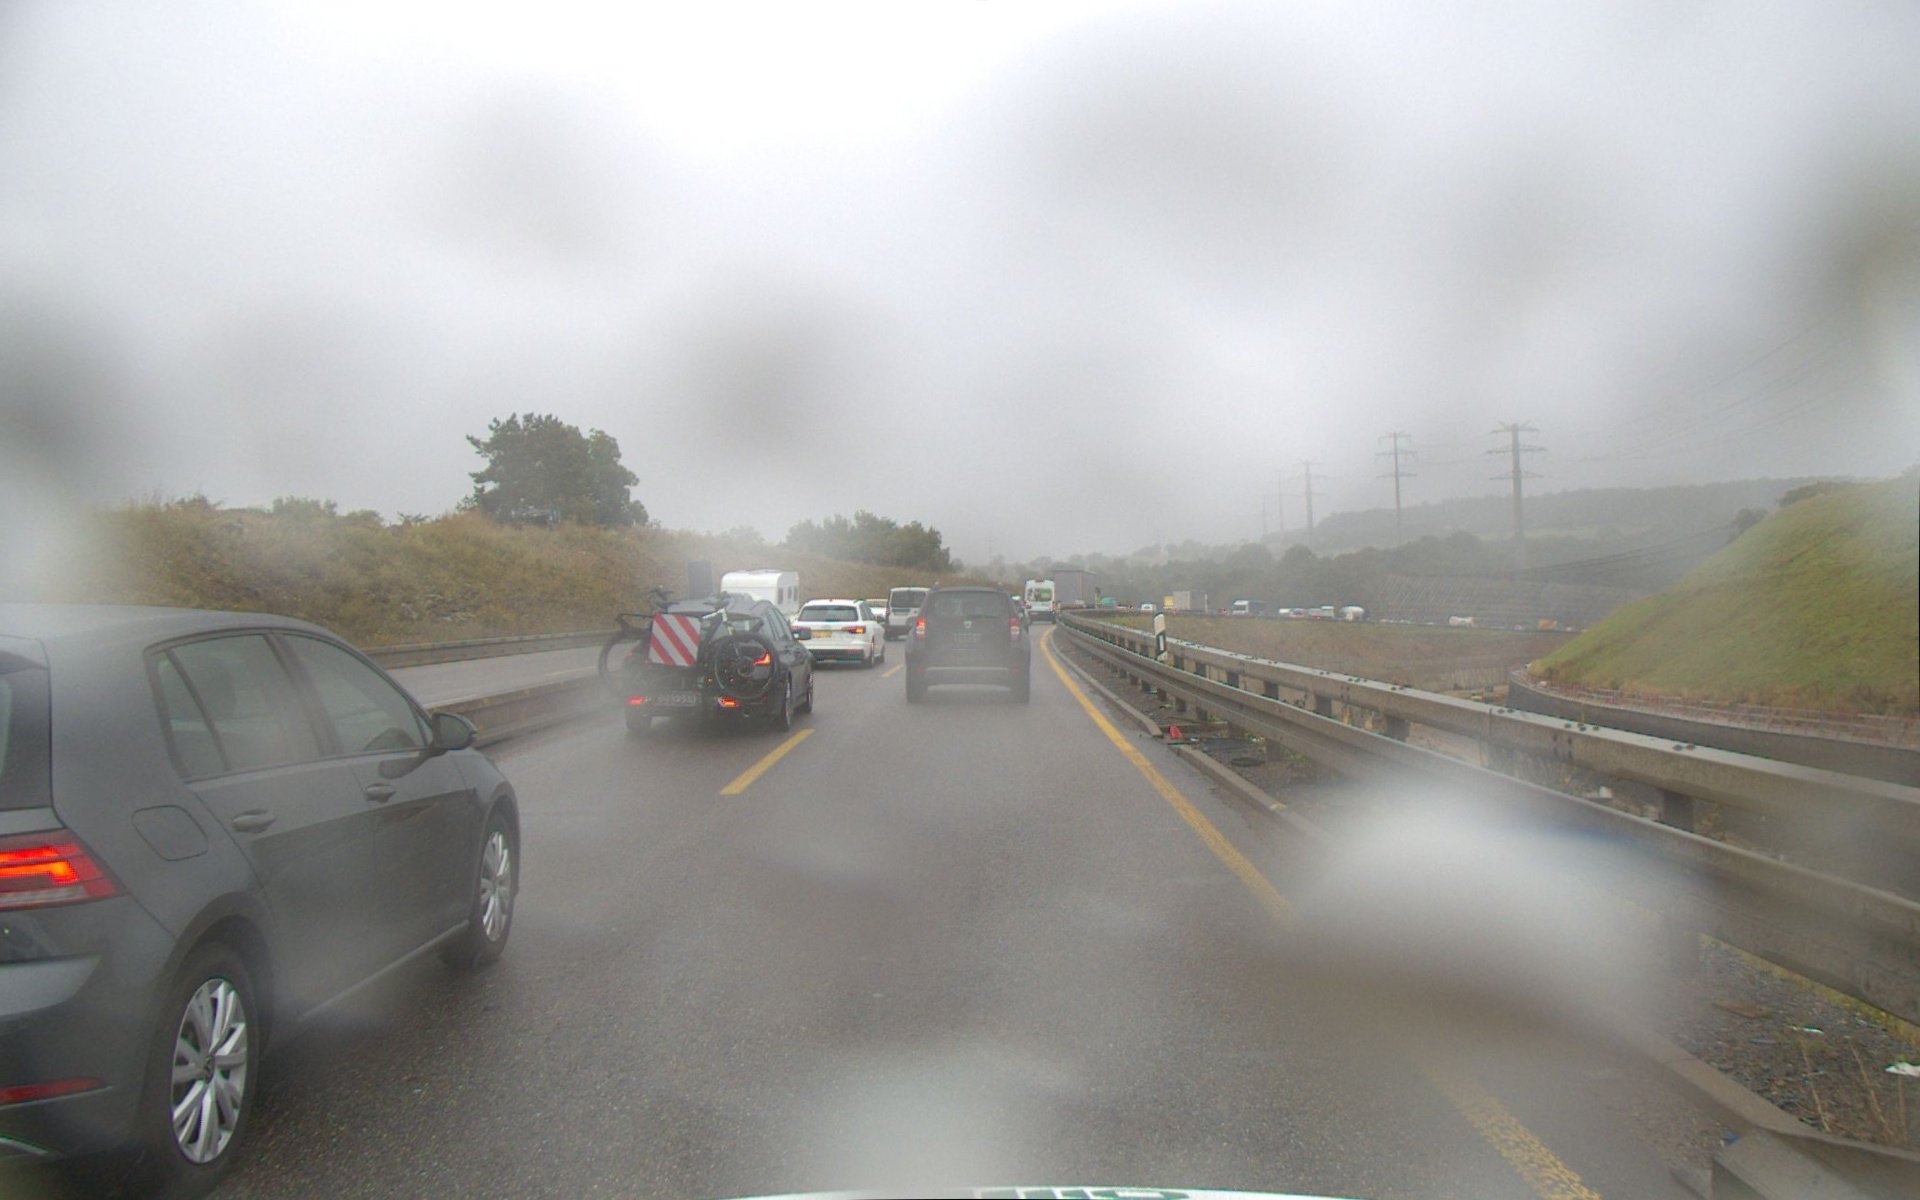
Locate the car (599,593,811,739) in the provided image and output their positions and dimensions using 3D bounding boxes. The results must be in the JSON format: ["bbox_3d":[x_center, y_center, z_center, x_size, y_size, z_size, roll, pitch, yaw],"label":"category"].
[{"bbox_3d":[-2.807,0.698,19.004,1.791,1.502,3.776,0,0,1],"label":"car"}]

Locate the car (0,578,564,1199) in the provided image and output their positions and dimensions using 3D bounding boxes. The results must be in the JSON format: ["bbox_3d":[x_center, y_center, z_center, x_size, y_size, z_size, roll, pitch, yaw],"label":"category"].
[{"bbox_3d":[-2.545,0.759,5.160,1.581,1.532,4.367,-1,0,-1],"label":"car"}]

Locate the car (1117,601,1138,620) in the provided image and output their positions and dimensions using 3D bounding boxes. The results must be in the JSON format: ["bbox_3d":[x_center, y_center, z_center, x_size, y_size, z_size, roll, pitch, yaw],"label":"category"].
[{"bbox_3d":[17.523,1.102,172.999,1.737,1.949,4.003,1,0,11],"label":"car"}]

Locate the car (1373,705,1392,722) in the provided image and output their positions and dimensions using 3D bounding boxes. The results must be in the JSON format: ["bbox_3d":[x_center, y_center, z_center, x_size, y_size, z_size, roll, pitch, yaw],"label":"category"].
[{"bbox_3d":[52.638,14.130,206.307,1.951,1.848,4.003,0,-1,10],"label":"car"}]

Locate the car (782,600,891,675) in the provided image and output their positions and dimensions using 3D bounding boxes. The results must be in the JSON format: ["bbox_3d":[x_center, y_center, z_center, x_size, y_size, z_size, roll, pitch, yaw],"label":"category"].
[{"bbox_3d":[-2.589,0.760,35.581,1.829,1.486,4.549,1,0,2],"label":"car"}]

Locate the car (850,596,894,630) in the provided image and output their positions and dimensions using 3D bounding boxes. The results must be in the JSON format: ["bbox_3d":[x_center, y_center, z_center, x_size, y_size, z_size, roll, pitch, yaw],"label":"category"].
[{"bbox_3d":[-4.330,0.610,82.040,1.839,1.526,4.336,1,1,1],"label":"car"}]

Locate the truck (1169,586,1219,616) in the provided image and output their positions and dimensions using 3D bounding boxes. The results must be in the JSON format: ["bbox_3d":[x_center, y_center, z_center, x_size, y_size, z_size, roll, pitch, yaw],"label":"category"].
[{"bbox_3d":[34.298,0.231,241.696,4.618,4.222,15.689,1,0,18],"label":"truck"}]

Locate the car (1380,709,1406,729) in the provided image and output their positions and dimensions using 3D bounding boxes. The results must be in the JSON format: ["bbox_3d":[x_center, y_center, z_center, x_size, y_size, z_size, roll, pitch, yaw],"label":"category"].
[{"bbox_3d":[49.738,13.662,190.066,2.315,2.049,4.003,1,0,7],"label":"car"}]

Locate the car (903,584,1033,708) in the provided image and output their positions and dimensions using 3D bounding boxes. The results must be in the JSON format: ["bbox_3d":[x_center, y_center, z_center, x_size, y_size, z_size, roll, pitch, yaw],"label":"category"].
[{"bbox_3d":[0.160,0.638,24.309,1.767,1.675,3.777,0,-1,1],"label":"car"}]

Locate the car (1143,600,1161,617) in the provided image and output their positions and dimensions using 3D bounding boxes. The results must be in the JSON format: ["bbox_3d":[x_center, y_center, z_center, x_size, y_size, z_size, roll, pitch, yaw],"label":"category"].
[{"bbox_3d":[22.543,1.006,193.888,1.737,1.949,4.003,1,0,11],"label":"car"}]

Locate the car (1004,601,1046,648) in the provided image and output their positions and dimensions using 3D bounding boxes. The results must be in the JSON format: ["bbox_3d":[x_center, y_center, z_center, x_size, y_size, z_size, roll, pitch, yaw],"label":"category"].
[{"bbox_3d":[2.459,0.906,62.944,1.499,1.669,4.013,1,0,1],"label":"car"}]

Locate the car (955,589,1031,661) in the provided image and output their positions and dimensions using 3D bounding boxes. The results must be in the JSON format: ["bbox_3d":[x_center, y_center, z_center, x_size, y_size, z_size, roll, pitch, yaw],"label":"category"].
[{"bbox_3d":[0.814,0.619,42.501,1.829,1.738,4.000,1,0,0],"label":"car"}]

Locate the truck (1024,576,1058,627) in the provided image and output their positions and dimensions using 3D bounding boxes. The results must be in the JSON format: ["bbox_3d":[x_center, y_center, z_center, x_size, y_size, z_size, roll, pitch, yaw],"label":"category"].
[{"bbox_3d":[5.319,0.118,108.695,2.104,3.221,6.461,1,0,2],"label":"truck"}]

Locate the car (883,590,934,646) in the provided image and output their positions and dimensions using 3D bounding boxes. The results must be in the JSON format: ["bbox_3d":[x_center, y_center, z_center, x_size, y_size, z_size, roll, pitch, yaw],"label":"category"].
[{"bbox_3d":[-1.807,0.621,59.075,1.626,1.913,4.020,1,0,0],"label":"car"}]

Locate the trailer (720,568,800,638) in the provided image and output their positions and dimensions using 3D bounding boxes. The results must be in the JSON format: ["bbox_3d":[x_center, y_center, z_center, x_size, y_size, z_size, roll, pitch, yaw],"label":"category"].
[{"bbox_3d":[-7.906,0.098,66.131,2.459,2.609,7.161,1,0,-1],"label":"trailer"}]

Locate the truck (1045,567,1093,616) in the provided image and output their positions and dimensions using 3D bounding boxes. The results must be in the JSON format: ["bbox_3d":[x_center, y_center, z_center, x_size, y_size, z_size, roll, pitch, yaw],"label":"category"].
[{"bbox_3d":[9.008,-0.631,135.717,3.132,3.827,8.516,1,0,9],"label":"truck"}]
